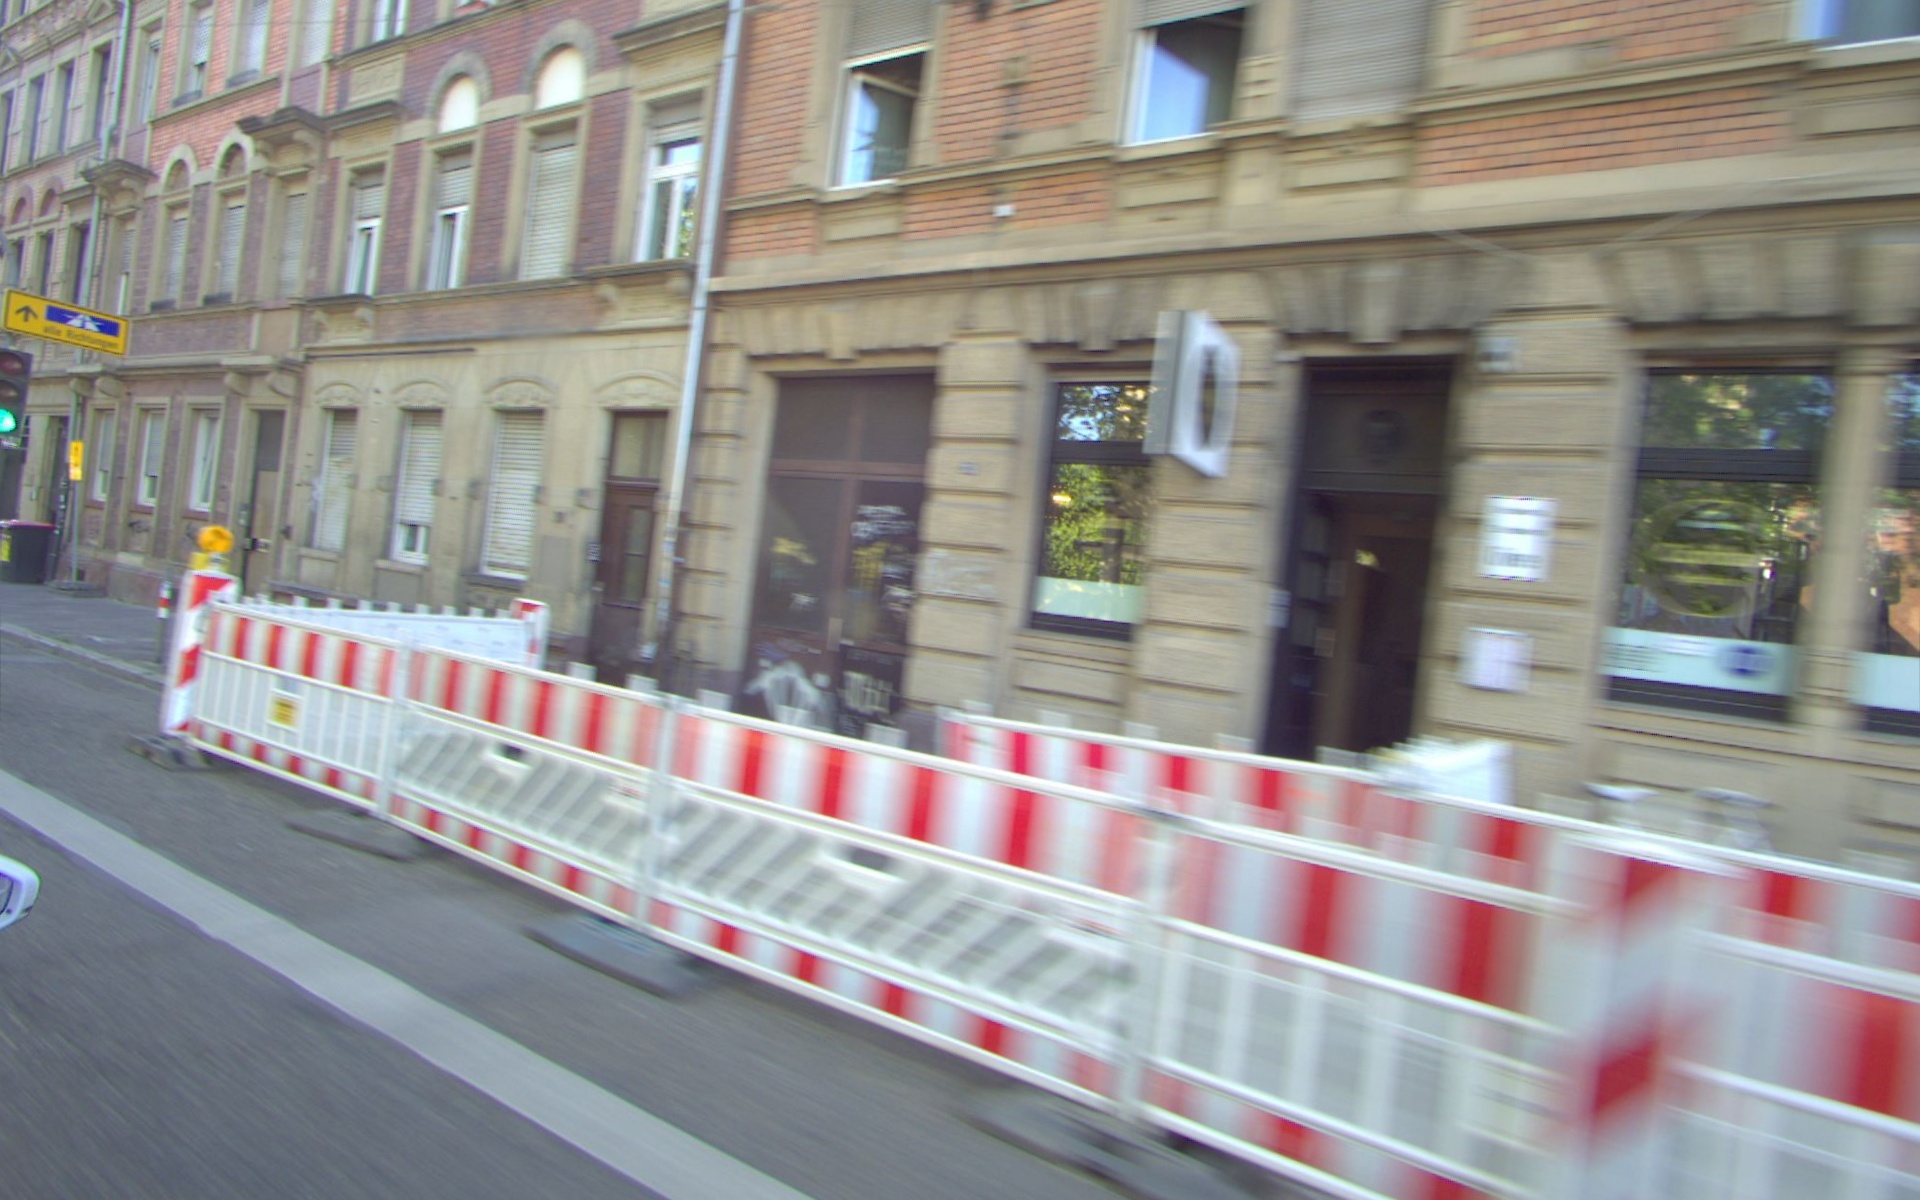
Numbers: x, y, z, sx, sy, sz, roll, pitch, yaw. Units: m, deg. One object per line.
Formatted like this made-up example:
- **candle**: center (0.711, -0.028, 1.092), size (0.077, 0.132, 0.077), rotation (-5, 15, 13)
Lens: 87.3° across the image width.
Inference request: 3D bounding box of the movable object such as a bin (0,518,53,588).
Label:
- **movable object such as a bin**: center (-16.601, -0.830, 17.708), size (0.767, 1.122, 0.622), rotation (6, -2, 28)
